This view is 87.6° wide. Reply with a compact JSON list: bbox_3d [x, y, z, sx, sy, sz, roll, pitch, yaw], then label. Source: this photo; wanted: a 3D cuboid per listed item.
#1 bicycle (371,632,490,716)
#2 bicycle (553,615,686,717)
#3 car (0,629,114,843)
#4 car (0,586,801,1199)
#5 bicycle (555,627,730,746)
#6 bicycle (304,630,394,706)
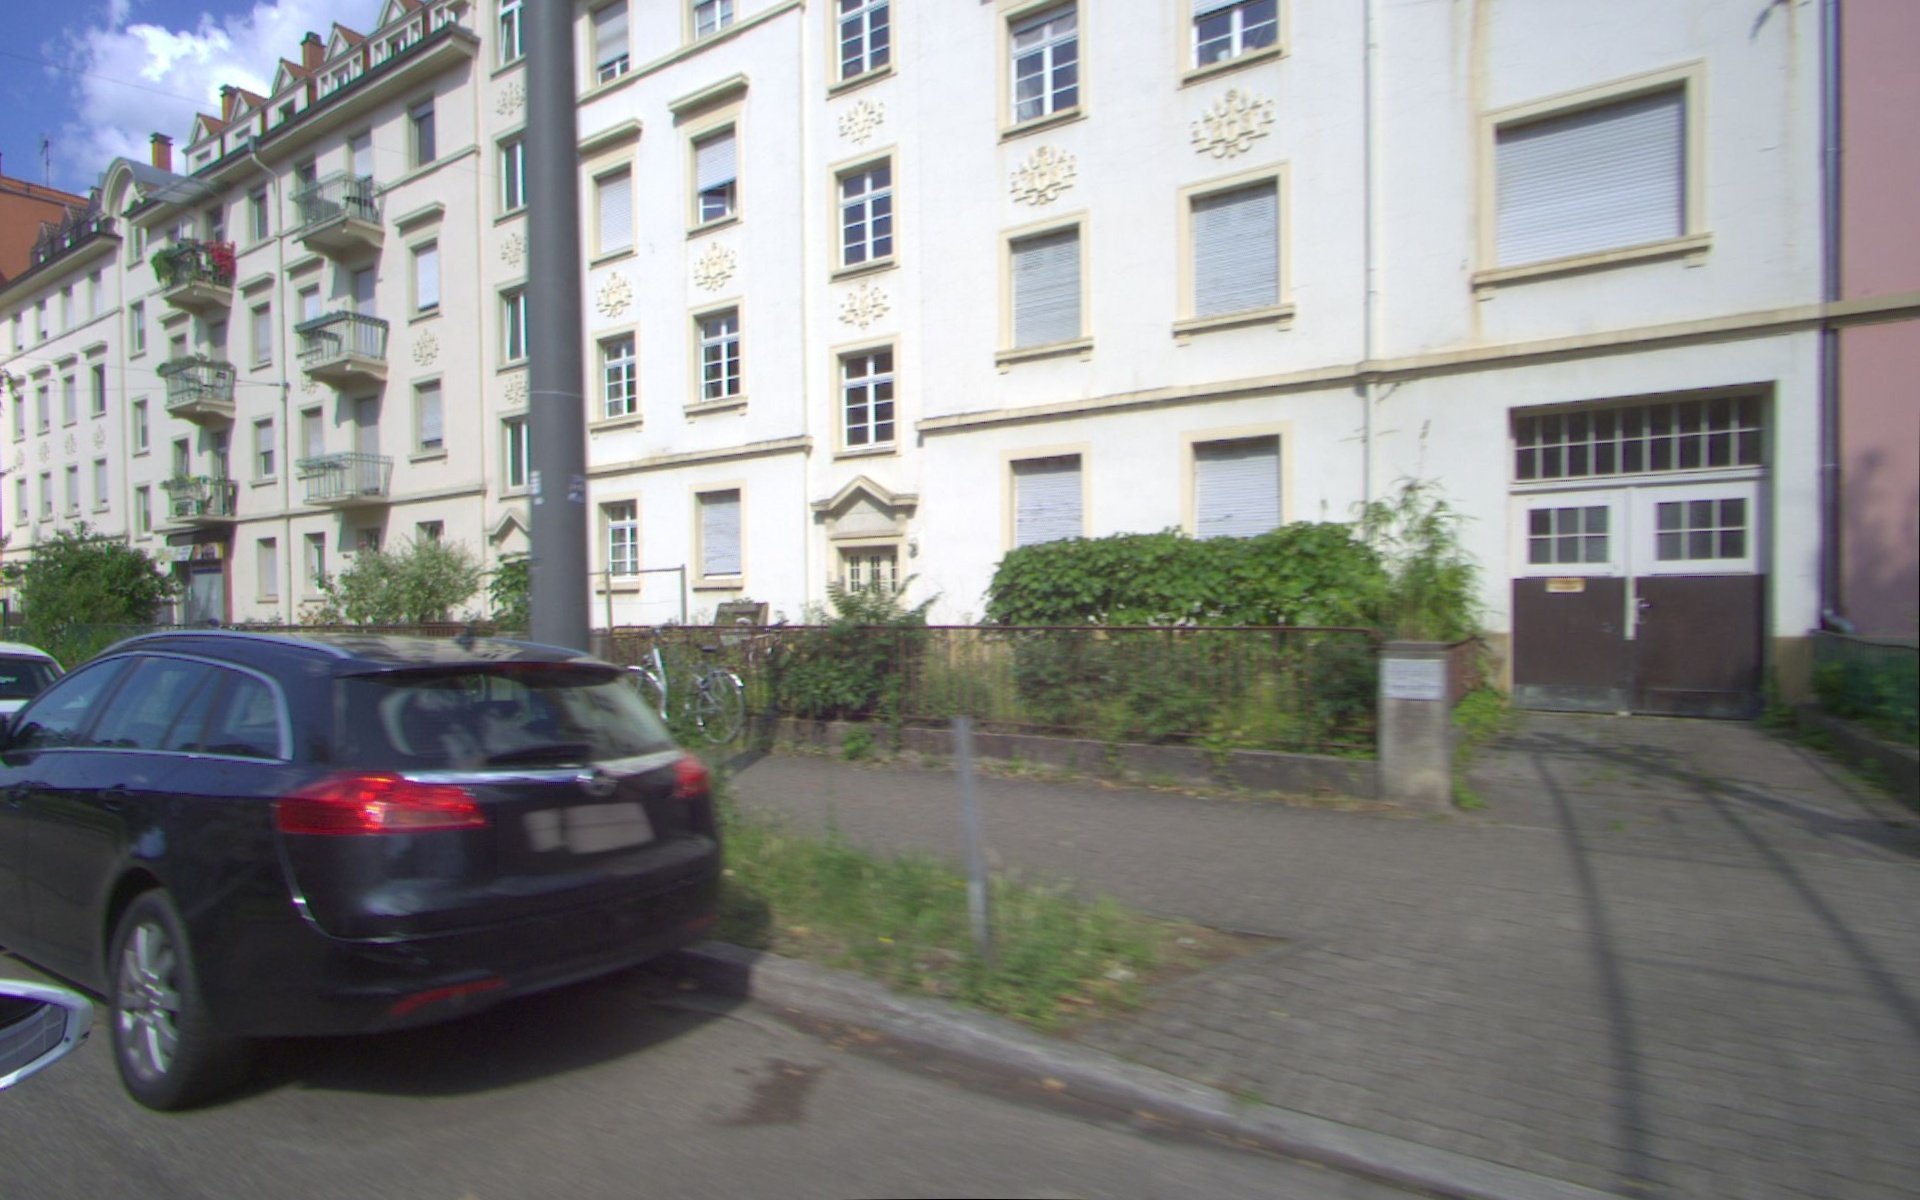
[{"bbox_3d":[-6.562,0.886,12.373,1.980,0.956,0.377,0,1,33],"label":"bicycle"},{"bbox_3d":[-4.350,0.802,12.938,0.457,1.198,1.840,0,0,26],"label":"bicycle"},{"bbox_3d":[-8.310,0.946,7.752,3.864,1.470,1.617,-1,-3,33],"label":"car"},{"bbox_3d":[-2.998,0.795,4.484,4.462,1.540,1.789,-1,-2,33],"label":"car"},{"bbox_3d":[-3.253,0.830,10.153,2.153,1.091,0.470,-1,1,35],"label":"bicycle"},{"bbox_3d":[-8.189,0.890,13.404,1.563,0.951,0.386,0,0,33],"label":"bicycle"}]
